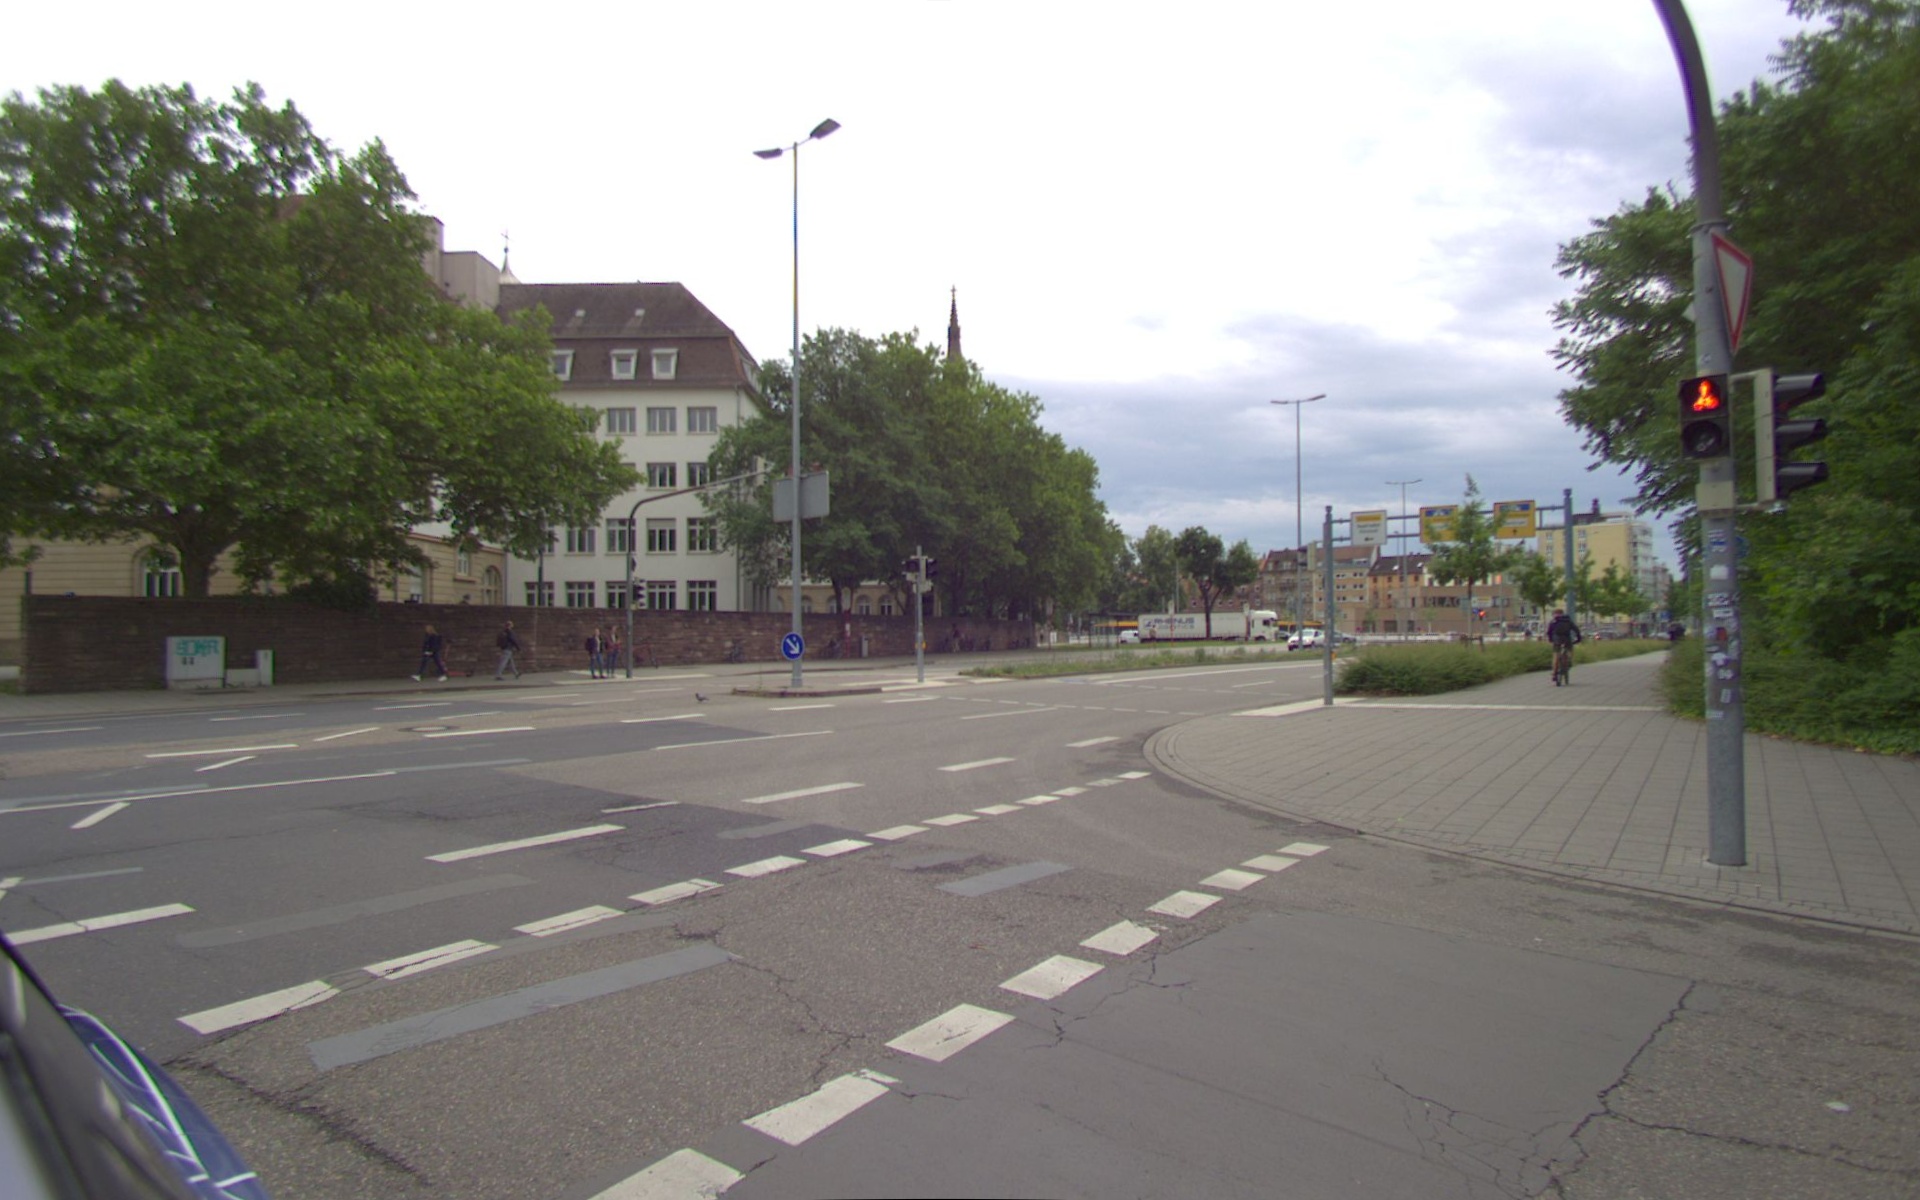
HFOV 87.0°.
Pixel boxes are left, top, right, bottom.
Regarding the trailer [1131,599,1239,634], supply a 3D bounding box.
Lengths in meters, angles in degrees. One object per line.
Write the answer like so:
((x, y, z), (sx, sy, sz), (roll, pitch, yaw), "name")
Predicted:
((26.796, 1.989, 120.866), (12.341, 3.852, 2.812), (-3, -1, 34), "trailer")

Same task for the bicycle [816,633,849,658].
((-6.277, 2.229, 49.934), (0.661, 1.157, 2.139), (0, -1, 23), "bicycle")

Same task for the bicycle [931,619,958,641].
((-0.941, 1.830, 61.338), (0.661, 1.275, 2.523), (0, -1, 23), "bicycle")

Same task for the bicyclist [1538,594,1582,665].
((13.988, 0.693, 23.611), (0.763, 1.620, 0.915), (-2, -2, 27), "bicyclist")

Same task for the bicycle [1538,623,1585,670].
((14.079, 1.077, 23.730), (0.779, 1.045, 1.847), (-2, -2, 27), "bicycle")

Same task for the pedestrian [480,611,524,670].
((-14.314, 1.253, 31.627), (0.755, 1.802, 0.995), (-1, -1, 33), "pedestrian")

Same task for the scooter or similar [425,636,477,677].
((-16.045, 1.773, 31.923), (1.390, 1.239, 0.496), (1, -1, -37), "scooter or similar")

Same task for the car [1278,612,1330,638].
((25.686, 1.852, 75.406), (2.044, 1.710, 5.306), (-5, -3, 37), "car")

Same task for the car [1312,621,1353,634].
((42.495, 3.133, 115.465), (3.989, 1.386, 1.977), (-2, -2, 34), "car")

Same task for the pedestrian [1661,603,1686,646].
((28.236, 0.971, 40.047), (0.797, 1.677, 0.643), (0, -2, -44), "pedestrian")

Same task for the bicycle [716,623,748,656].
((-9.808, 1.695, 43.604), (0.661, 1.391, 2.582), (-1, -2, 4), "bicycle")

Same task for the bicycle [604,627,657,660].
((-12.367, 1.620, 38.035), (0.580, 1.194, 2.137), (0, -1, 25), "bicycle")

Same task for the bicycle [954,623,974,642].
((0.267, 2.067, 64.970), (0.504, 1.157, 2.232), (0, -1, 21), "bicycle")

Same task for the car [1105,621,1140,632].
((21.069, 3.447, 131.260), (3.989, 1.386, 1.977), (-2, -2, 34), "car")

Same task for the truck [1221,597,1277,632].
((33.240, 1.708, 116.502), (5.436, 3.852, 2.812), (-3, -1, 34), "truck")

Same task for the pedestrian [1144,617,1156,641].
((13.604, 2.066, 72.507), (0.641, 1.719, 0.700), (-2, -3, 34), "pedestrian")

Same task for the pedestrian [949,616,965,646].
((-0.180, 1.861, 60.956), (0.786, 1.773, 0.767), (-1, -2, 22), "pedestrian")

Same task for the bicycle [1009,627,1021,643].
((4.193, 2.646, 77.297), (0.503, 1.157, 2.238), (0, -1, 13), "bicycle")

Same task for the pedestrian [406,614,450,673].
((-15.915, 1.291, 30.304), (0.789, 1.676, 0.800), (7, 3, 34), "pedestrian")

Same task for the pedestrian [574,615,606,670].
((-12.153, 1.386, 33.203), (0.733, 1.752, 0.663), (-1, -2, 31), "pedestrian")

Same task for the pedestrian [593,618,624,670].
((-11.717, 1.459, 33.734), (0.777, 1.706, 0.635), (-1, -1, 33), "pedestrian")
